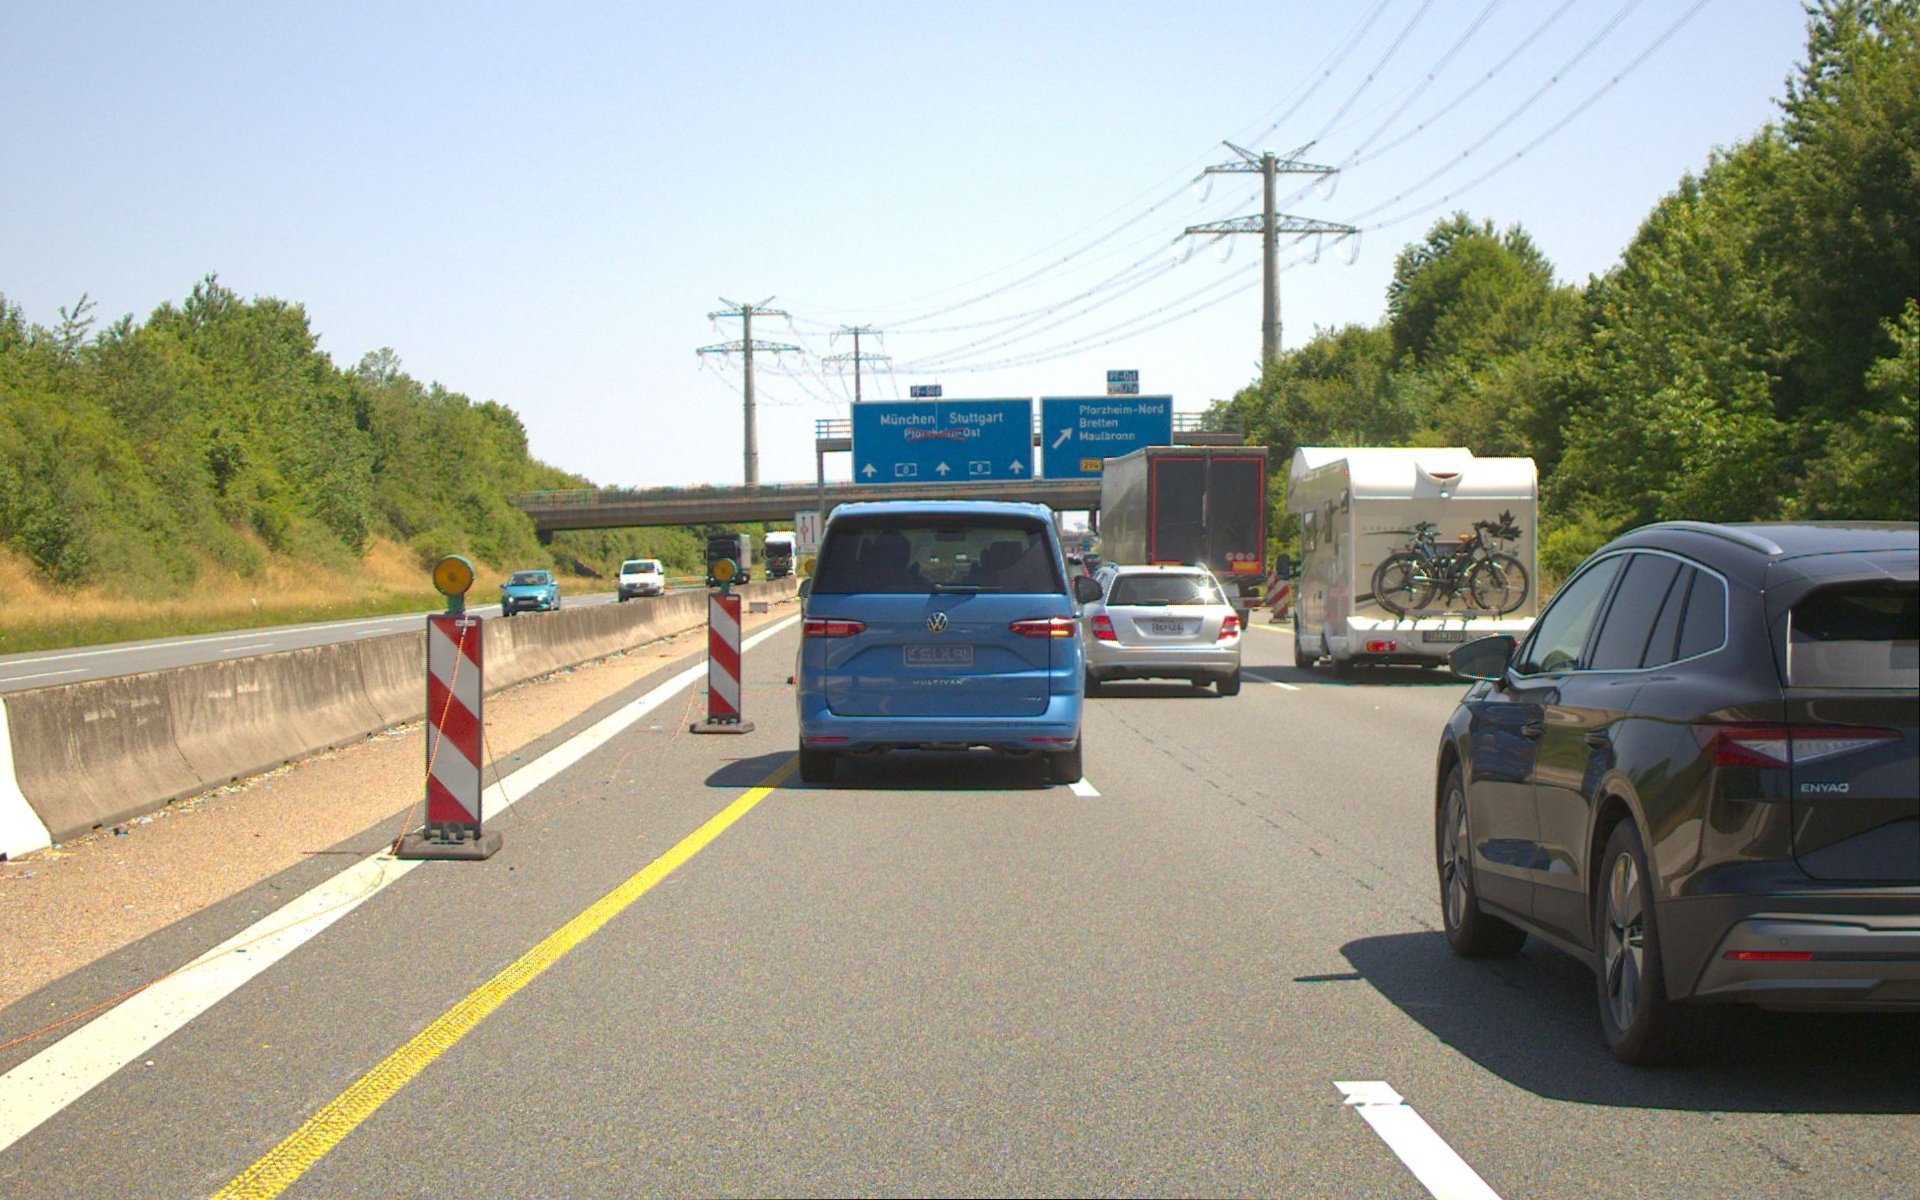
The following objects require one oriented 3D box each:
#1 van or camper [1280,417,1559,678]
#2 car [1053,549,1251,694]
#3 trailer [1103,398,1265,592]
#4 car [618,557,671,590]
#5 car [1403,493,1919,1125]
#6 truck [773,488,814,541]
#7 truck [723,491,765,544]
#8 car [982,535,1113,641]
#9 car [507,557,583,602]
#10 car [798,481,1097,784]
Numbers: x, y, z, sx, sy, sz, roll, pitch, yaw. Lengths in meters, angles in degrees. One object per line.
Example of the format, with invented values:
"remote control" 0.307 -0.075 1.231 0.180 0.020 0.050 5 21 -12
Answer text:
"van or camper" 5.765 -0.662 44.296 2.369 3.033 7.633 1 1 -1
"car" 2.093 0.202 38.612 1.770 1.512 4.360 1 1 -2
"trailer" 4.978 -2.288 78.771 2.783 4.033 13.112 1 1 0
"car" -14.492 -1.223 157.994 1.993 1.393 4.000 -2 1 0
"car" 2.692 0.530 11.237 1.700 1.649 4.430 1 1 -3
"truck" -12.645 -6.479 261.945 2.722 3.905 6.778 1 1 0
"truck" -16.409 -6.234 261.817 2.722 3.905 6.778 1 1 0
"car" 1.419 -0.223 57.410 1.874 1.665 4.360 1 1 -2
"car" -13.922 -0.696 115.504 1.993 1.393 4.000 -2 1 0
"car" -0.169 0.182 24.064 1.874 1.905 4.360 1 1 -2
